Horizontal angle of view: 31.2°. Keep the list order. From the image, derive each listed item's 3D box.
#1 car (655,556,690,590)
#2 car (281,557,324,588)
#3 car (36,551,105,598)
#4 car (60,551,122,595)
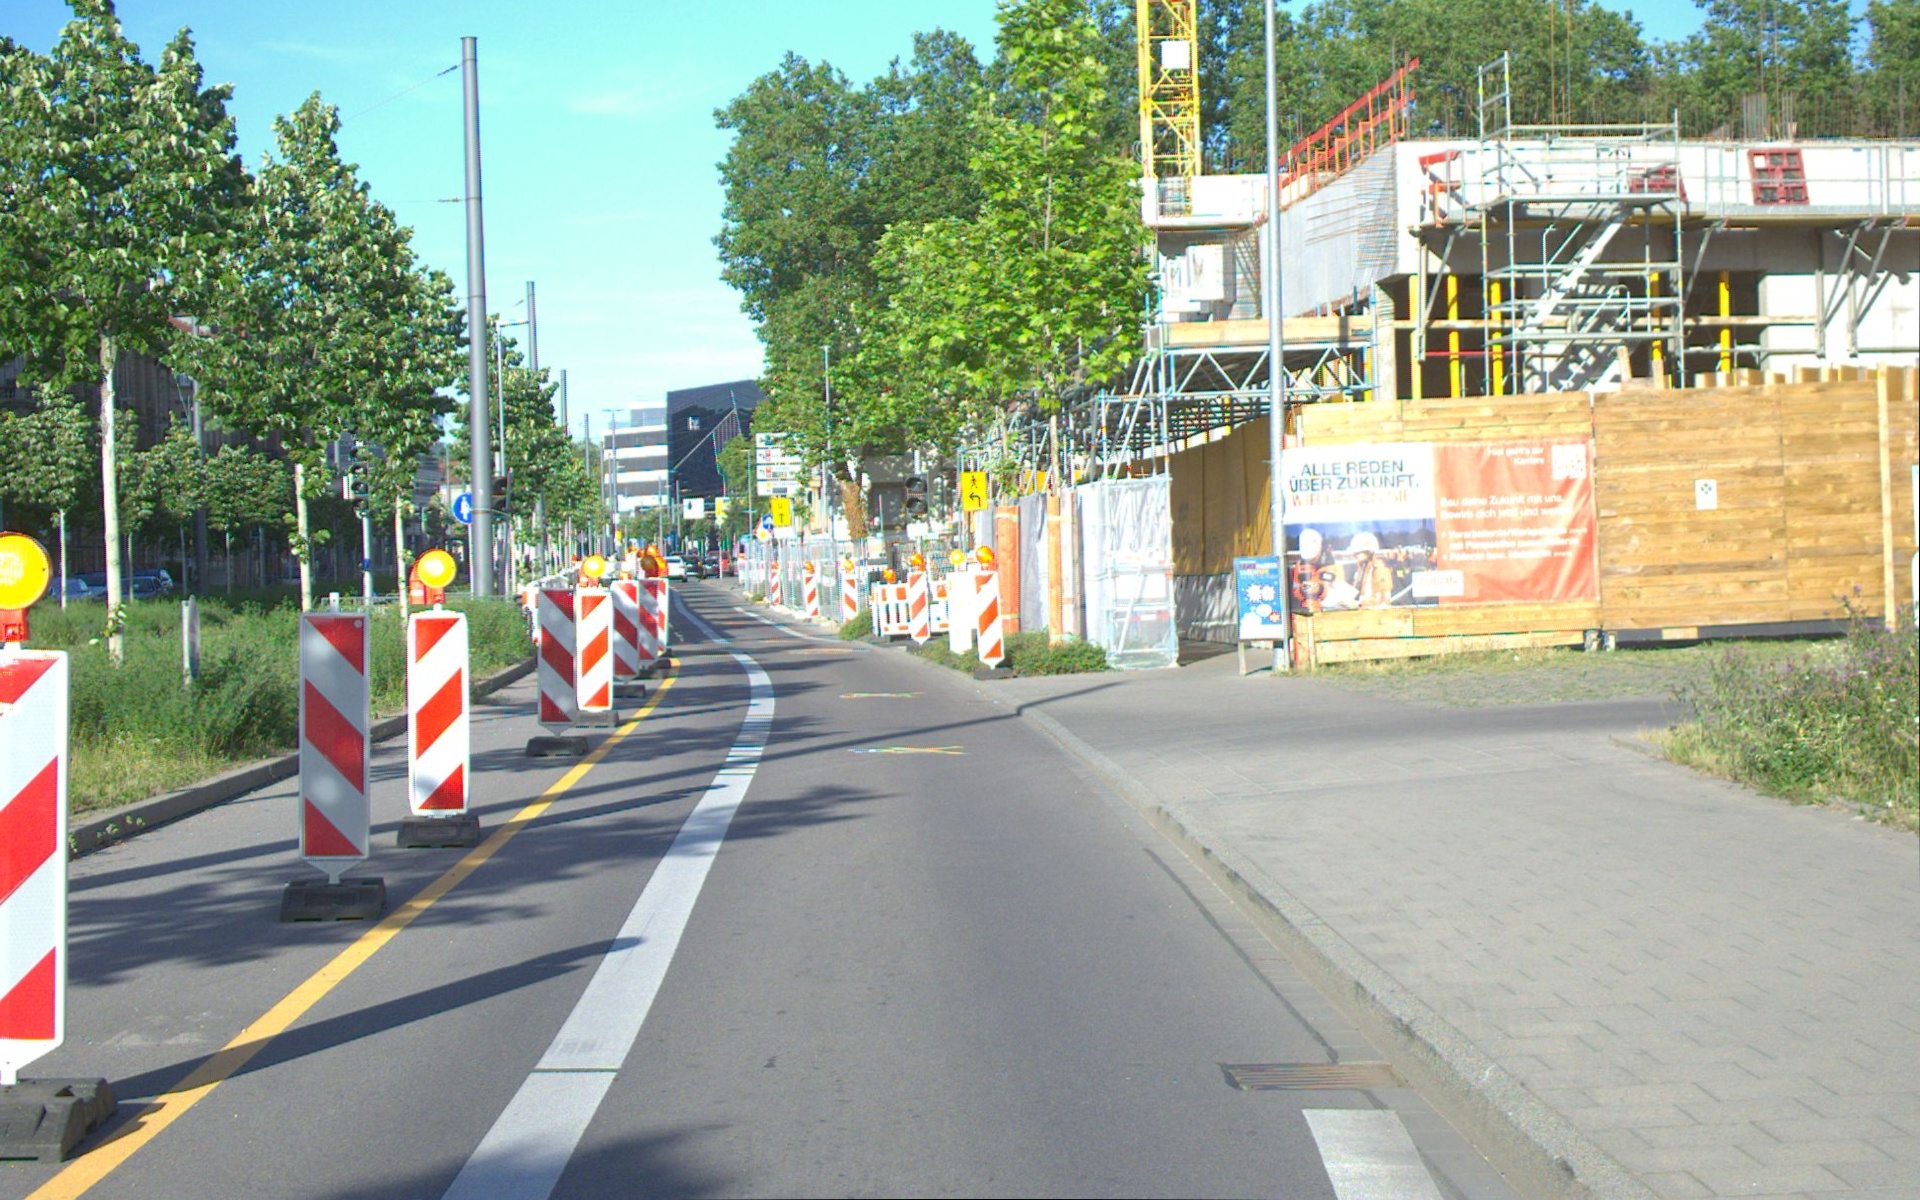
[{"bbox_3d":[-16.366,-1.541,195.794,1.883,1.836,3.668,-2,1,-5],"label":"car"},{"bbox_3d":[-32.344,-1.376,169.173,1.594,1.478,3.624,0,1,-4],"label":"car"},{"bbox_3d":[-31.296,-0.919,121.053,1.566,1.557,4.715,-2,1,-5],"label":"car"},{"bbox_3d":[-32.687,-1.047,129.385,1.566,1.557,4.715,-2,1,-6],"label":"car"}]
